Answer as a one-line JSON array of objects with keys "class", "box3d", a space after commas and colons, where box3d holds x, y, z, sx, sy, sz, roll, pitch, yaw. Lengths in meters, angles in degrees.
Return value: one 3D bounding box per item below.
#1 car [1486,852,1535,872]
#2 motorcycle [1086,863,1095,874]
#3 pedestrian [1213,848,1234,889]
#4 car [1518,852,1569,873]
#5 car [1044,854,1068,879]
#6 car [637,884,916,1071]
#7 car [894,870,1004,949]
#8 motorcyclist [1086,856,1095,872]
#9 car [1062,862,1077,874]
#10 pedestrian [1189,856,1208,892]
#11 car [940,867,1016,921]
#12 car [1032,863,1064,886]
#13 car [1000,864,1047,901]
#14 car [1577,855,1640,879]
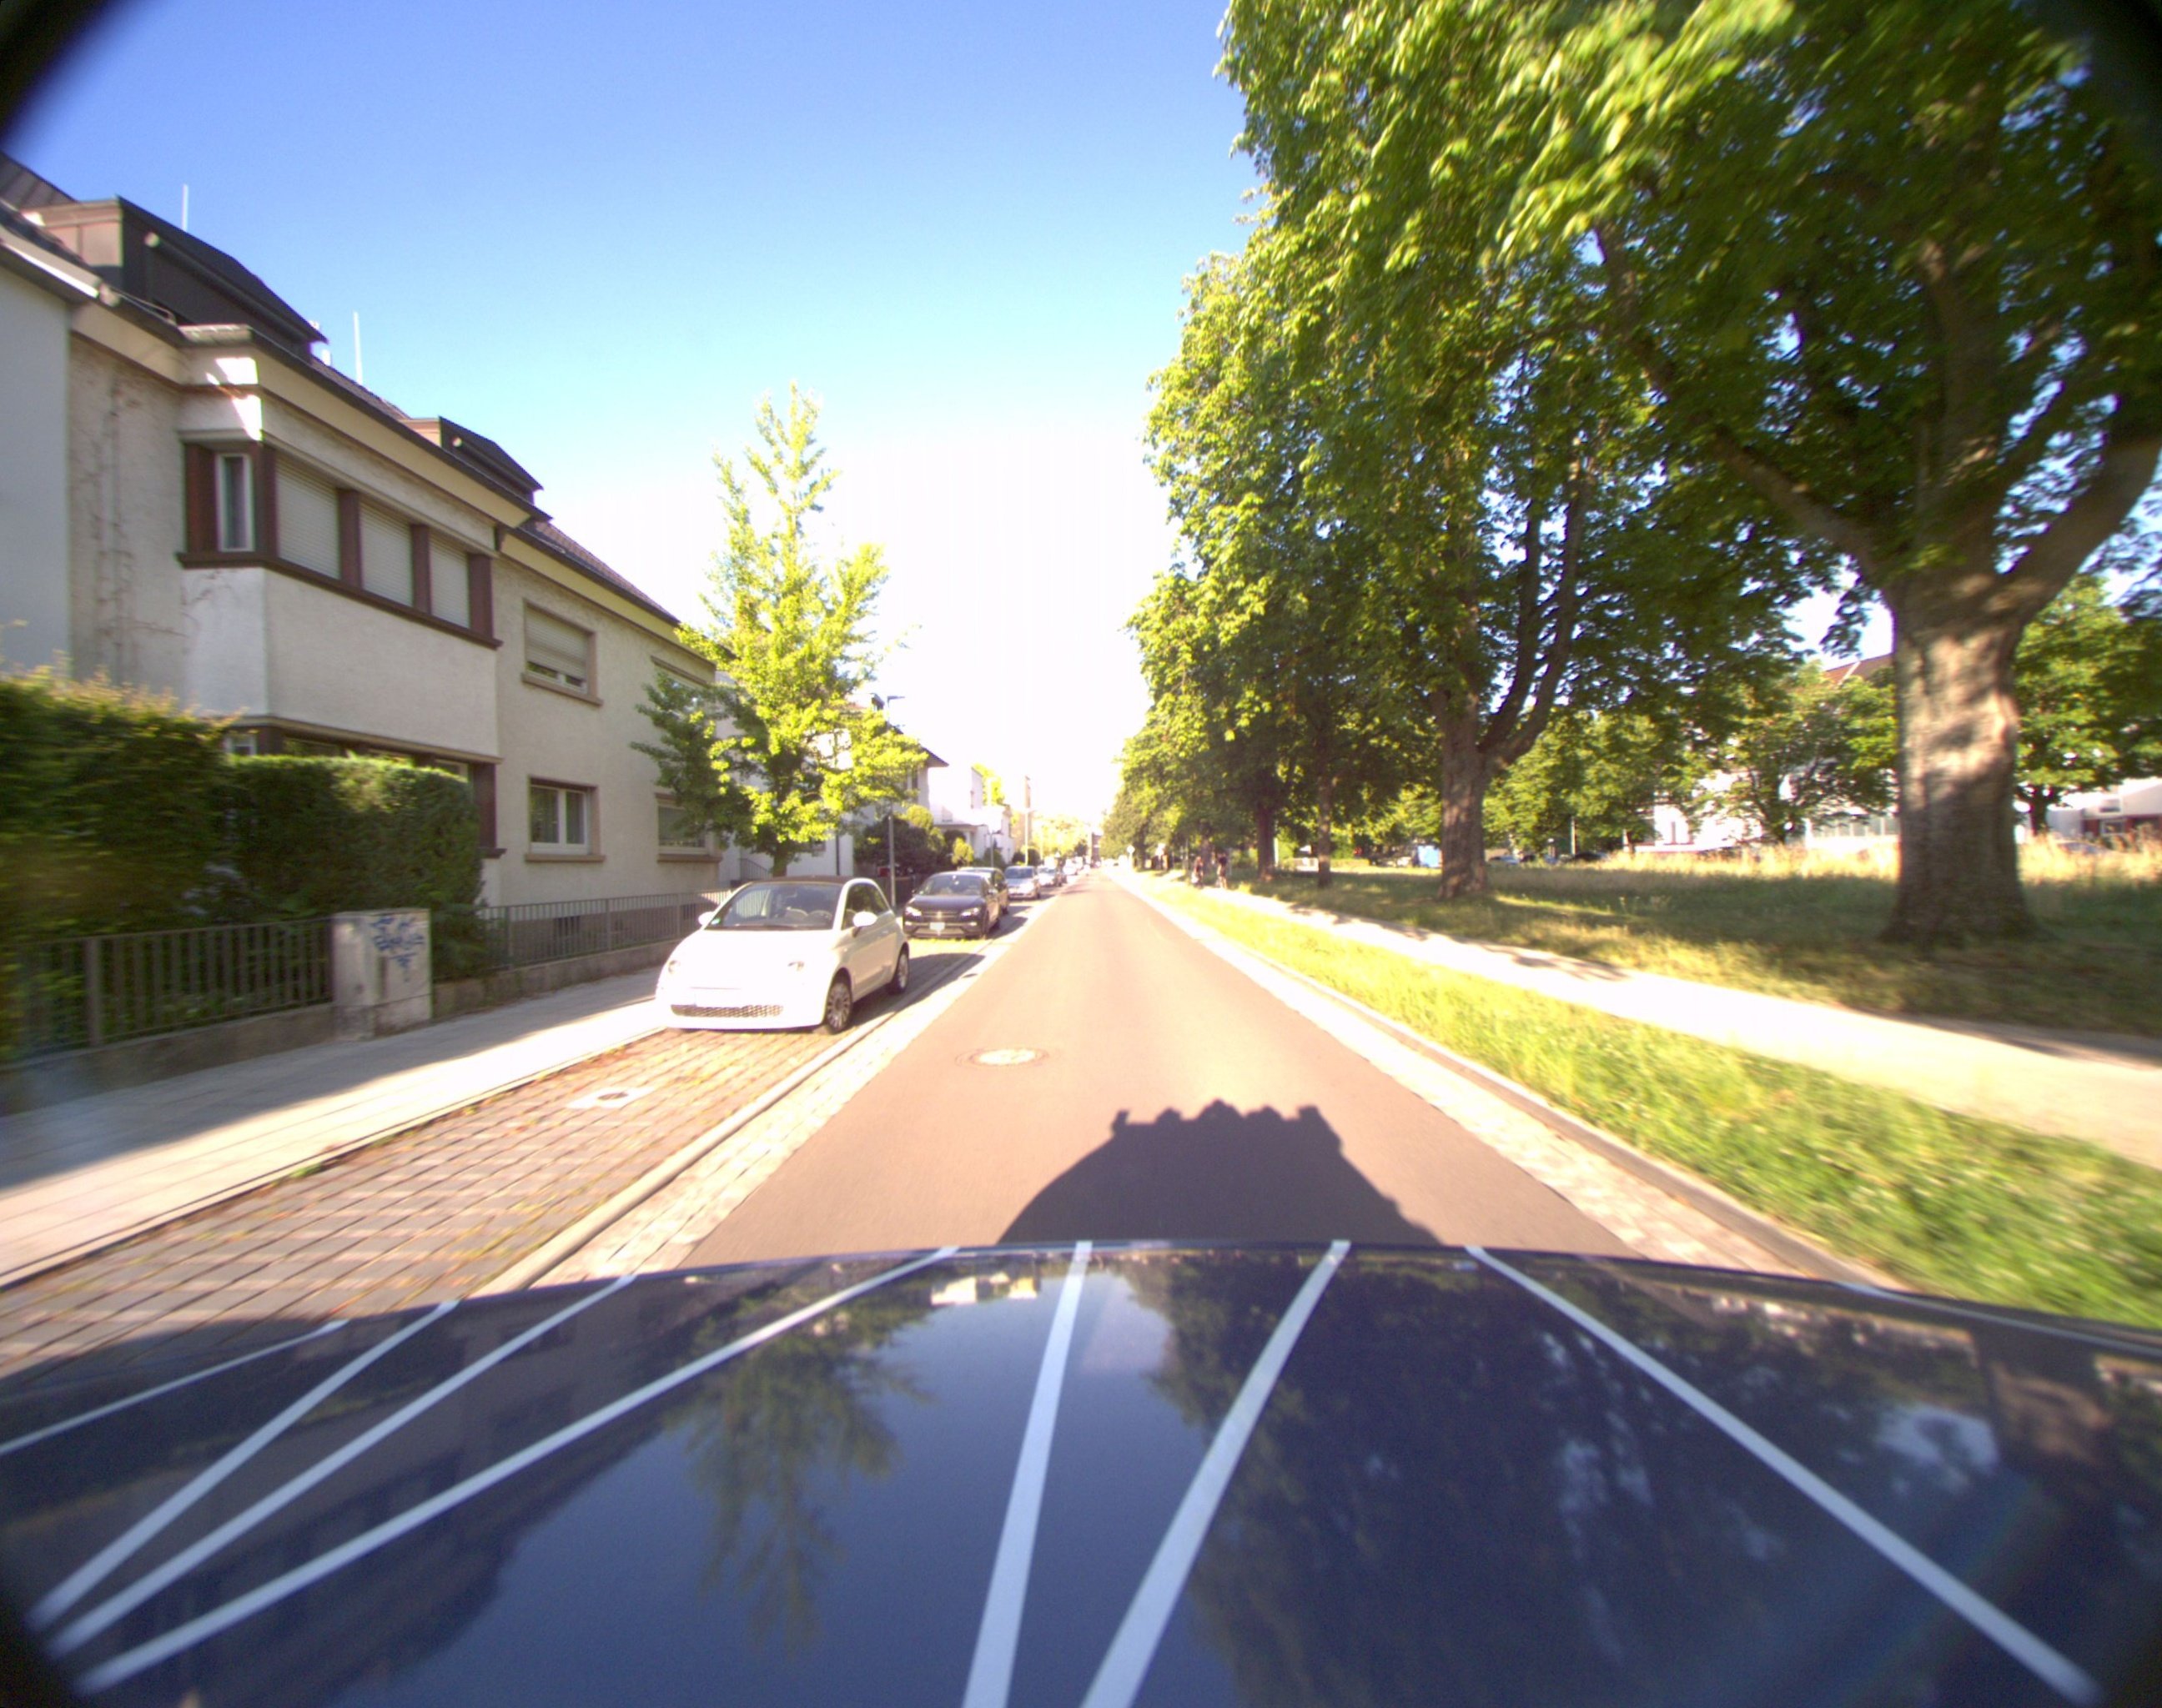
[{"class": "car", "box3d": [38.507, 0.699, 68.309, 1.873, 1.619, 4.427, -3, -1, 1]}, {"class": "motorcycle", "box3d": [1.242, 1.872, 98.693, 1.077, 1.373, 2.463, -3, 0, 0]}, {"class": "pedestrian", "box3d": [6.549, 0.673, 34.877, 0.625, 1.840, 0.606, -2, 1, 40]}, {"class": "car", "box3d": [38.390, 0.681, 63.122, 1.766, 1.619, 4.000, -3, -1, 1]}, {"class": "car", "box3d": [-2.294, 1.147, 70.573, 1.844, 2.196, 3.764, -2, 0, 2]}, {"class": "car", "box3d": [-2.962, 1.117, 8.179, 1.508, 1.471, 3.493, -1, 0, 1]}, {"class": "car", "box3d": [-2.874, 1.165, 17.352, 1.745, 1.471, 4.057, -2, -1, 0]}, {"class": "motorcyclist", "box3d": [1.246, 1.317, 98.565, 0.961, 2.002, 1.274, -3, 0, 0]}, {"class": "car", "box3d": [-1.556, 1.891, 101.131, 1.844, 1.471, 3.764, -2, 0, 0]}, {"class": "pedestrian", "box3d": [5.316, 0.906, 34.402, 0.625, 1.621, 0.606, -3, 1, 27]}, {"class": "car", "box3d": [-3.127, 1.193, 23.731, 1.665, 1.471, 3.764, -2, 0, 2]}, {"class": "car", "box3d": [-2.308, 1.414, 53.570, 1.844, 1.471, 3.765, -2, 0, 3]}, {"class": "car", "box3d": [-2.512, 1.229, 34.116, 1.665, 1.526, 3.833, -1, 0, 2]}, {"class": "car", "box3d": [38.224, 0.909, 55.164, 1.766, 1.619, 4.000, -3, -1, 1]}]
